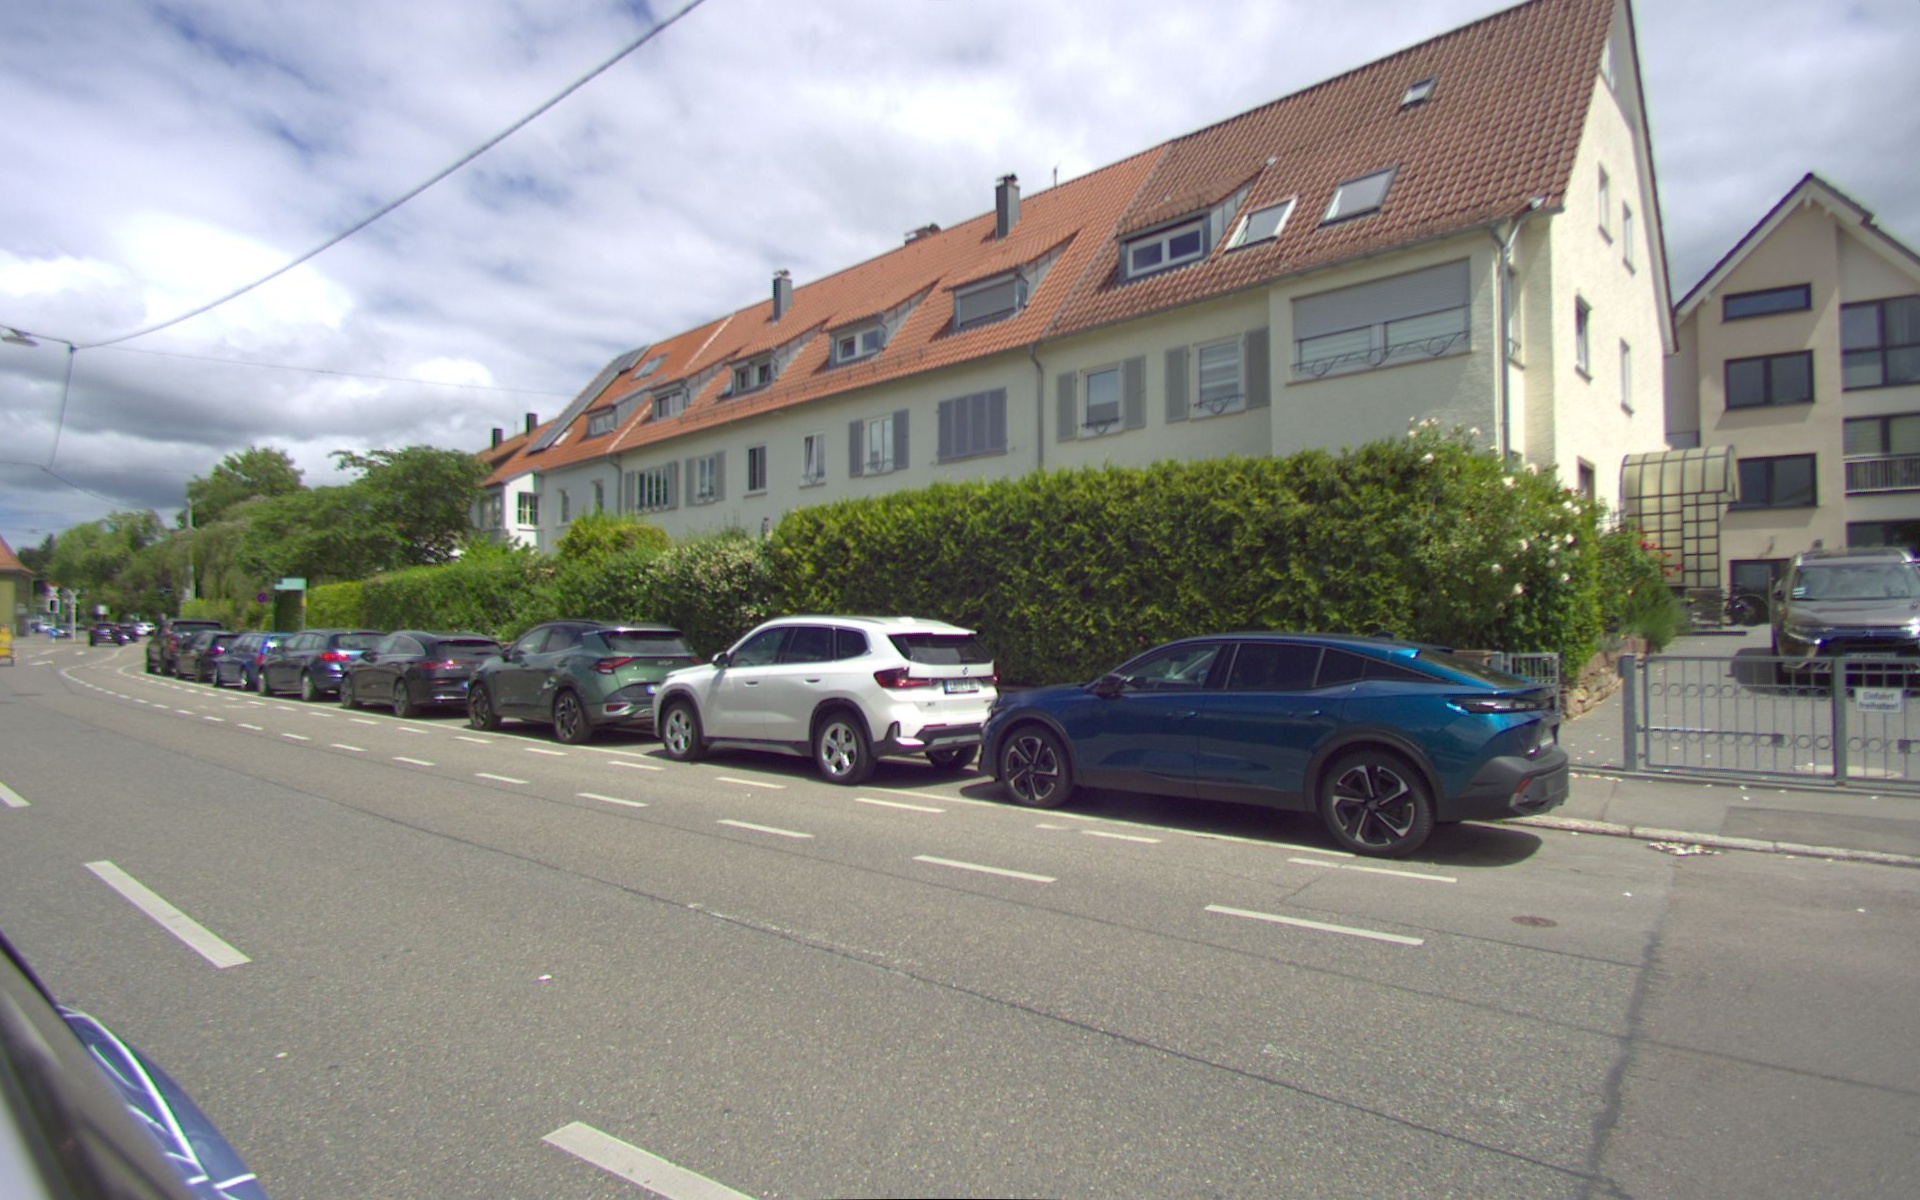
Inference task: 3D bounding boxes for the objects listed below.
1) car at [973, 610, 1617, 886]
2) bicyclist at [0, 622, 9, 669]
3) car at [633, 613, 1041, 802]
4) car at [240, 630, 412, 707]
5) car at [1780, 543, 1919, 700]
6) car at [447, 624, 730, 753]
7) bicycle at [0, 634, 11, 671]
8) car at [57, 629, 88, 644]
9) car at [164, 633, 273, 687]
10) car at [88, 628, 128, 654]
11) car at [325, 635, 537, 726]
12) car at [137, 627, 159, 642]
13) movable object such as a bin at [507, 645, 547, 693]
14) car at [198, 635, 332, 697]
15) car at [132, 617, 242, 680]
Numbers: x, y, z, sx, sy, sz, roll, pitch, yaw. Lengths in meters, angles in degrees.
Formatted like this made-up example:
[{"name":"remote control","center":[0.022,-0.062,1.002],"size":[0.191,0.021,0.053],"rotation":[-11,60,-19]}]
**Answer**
[{"name":"car","center":[2.453,0.920,8.075],"size":[4.484,1.599,1.974],"rotation":[-1,-2,39]},{"name":"bicyclist","center":[-35.265,1.654,36.915],"size":[0.783,1.727,1.209],"rotation":[2,-3,-44]},{"name":"car","center":[-1.499,1.008,11.156],"size":[4.515,1.663,1.973],"rotation":[-1,-2,41]},{"name":"car","center":[-13.802,1.407,21.927],"size":[4.560,1.503,1.760],"rotation":[-1,-2,39]},{"name":"car","center":[12.322,0.184,13.715],"size":[1.802,1.718,3.948],"rotation":[-2,3,40]},{"name":"car","center":[-5.516,1.151,14.699],"size":[4.689,1.576,1.972],"rotation":[-2,-2,43]},{"name":"bicycle","center":[-35.292,1.895,36.918],"size":[2.662,1.311,0.854],"rotation":[-2,-3,45]},{"name":"car","center":[-89.051,3.647,101.534],"size":[1.967,1.438,4.009],"rotation":[-1,0,-36]},{"name":"car","center":[-21.408,1.669,29.170],"size":[4.340,1.428,1.758],"rotation":[-2,-2,43]},{"name":"car","center":[-59.814,2.893,71.101],"size":[1.892,1.661,4.301],"rotation":[6,-5,-39]},{"name":"car","center":[-9.694,1.347,18.371],"size":[4.689,1.419,1.972],"rotation":[-2,-2,43]},{"name":"car","center":[-86.896,3.706,108.331],"size":[1.824,1.587,4.167],"rotation":[0,-1,-39]},{"name":"movable object such as a bin","center":[-9.573,1.521,22.361],"size":[0.635,1.010,0.571],"rotation":[-1,0,38]},{"name":"car","center":[-17.590,1.599,25.533],"size":[4.438,1.428,1.759],"rotation":[-2,-2,42]},{"name":"car","center":[-25.292,1.562,33.039],"size":[5.404,1.909,1.971],"rotation":[-2,-4,44]}]
